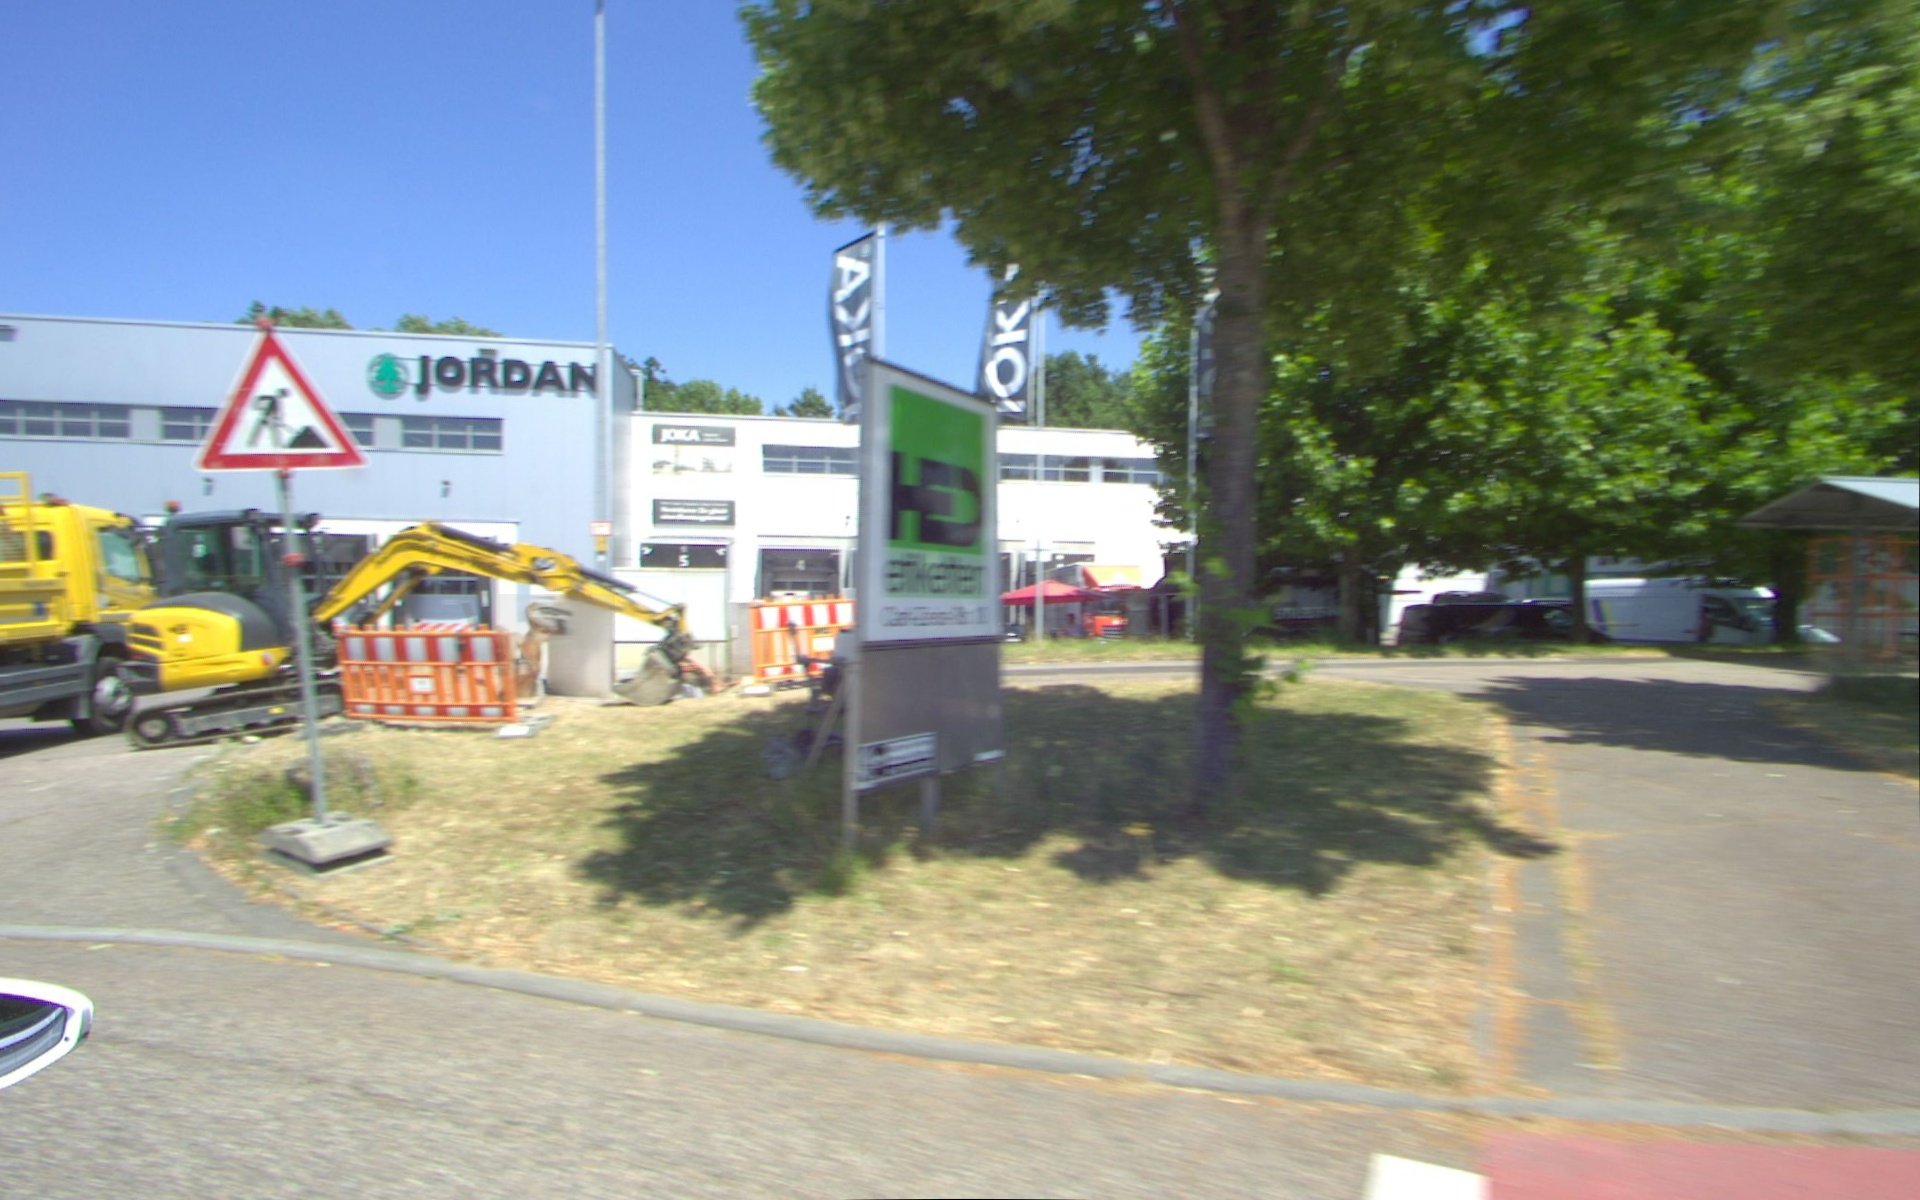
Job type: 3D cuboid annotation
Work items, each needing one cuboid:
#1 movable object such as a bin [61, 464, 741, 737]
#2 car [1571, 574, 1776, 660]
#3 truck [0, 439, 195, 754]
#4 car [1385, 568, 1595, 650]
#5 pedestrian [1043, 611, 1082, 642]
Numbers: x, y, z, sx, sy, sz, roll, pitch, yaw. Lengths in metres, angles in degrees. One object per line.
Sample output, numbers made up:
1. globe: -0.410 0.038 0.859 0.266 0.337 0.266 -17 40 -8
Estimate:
1. movable object such as a bin: -5.960 -0.017 11.447 6.450 2.615 2.000 -2 0 -5
2. car: 18.680 0.459 26.460 1.523 2.039 4.254 2 -1 -20
3. truck: -11.028 -0.007 10.210 2.548 3.180 6.413 -3 2 -13
4. car: 12.079 0.193 22.943 3.924 1.751 1.839 -1 0 -8
5. pedestrian: 2.361 0.615 23.064 0.850 0.704 0.407 -1 1 14
